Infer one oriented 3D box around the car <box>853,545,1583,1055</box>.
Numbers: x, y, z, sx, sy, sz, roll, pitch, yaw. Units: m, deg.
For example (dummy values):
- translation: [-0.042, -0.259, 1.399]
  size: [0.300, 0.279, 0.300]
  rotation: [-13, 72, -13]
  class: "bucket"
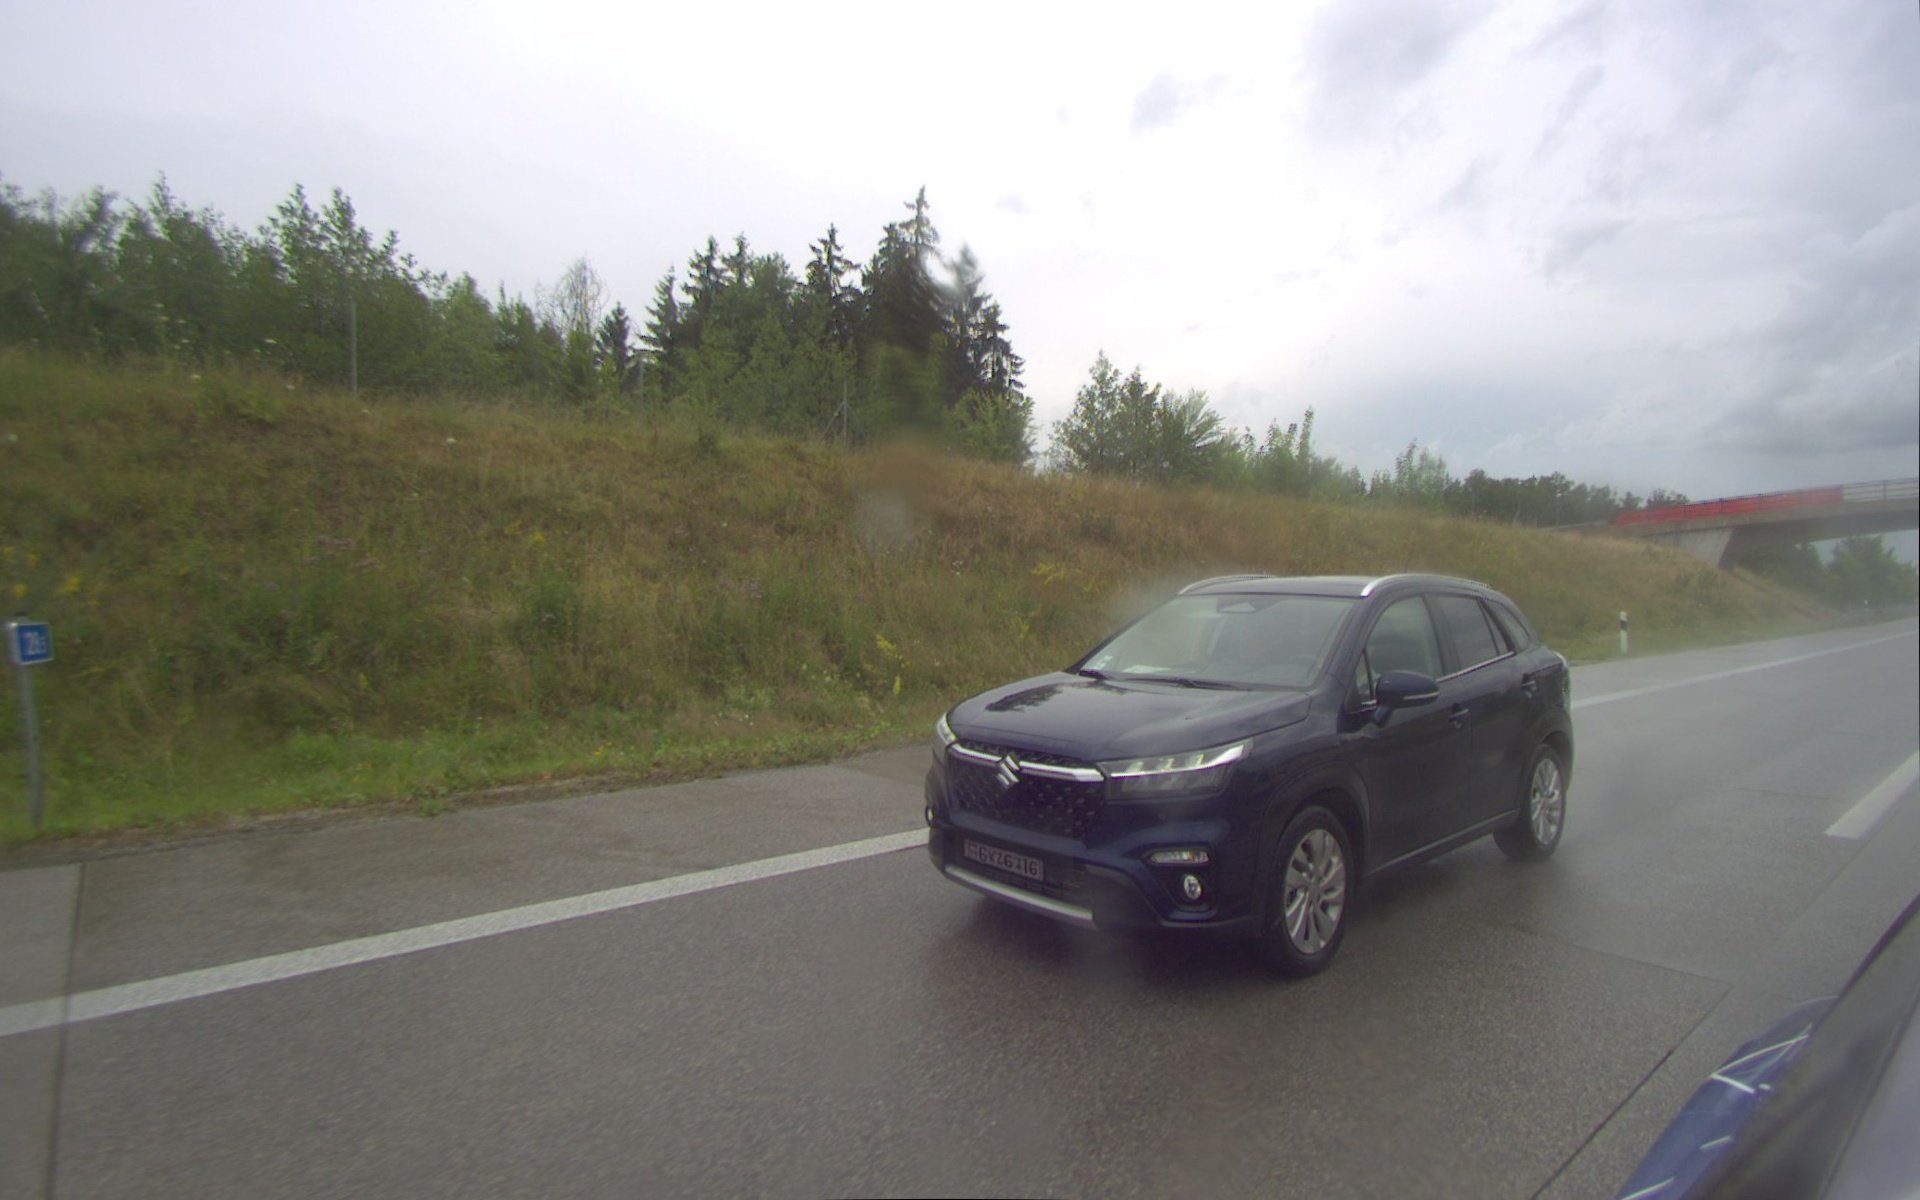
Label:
- translation: [1.469, 0.631, 5.082]
  size: [3.569, 1.596, 1.897]
  rotation: [0, 0, -42]
  class: "car"
